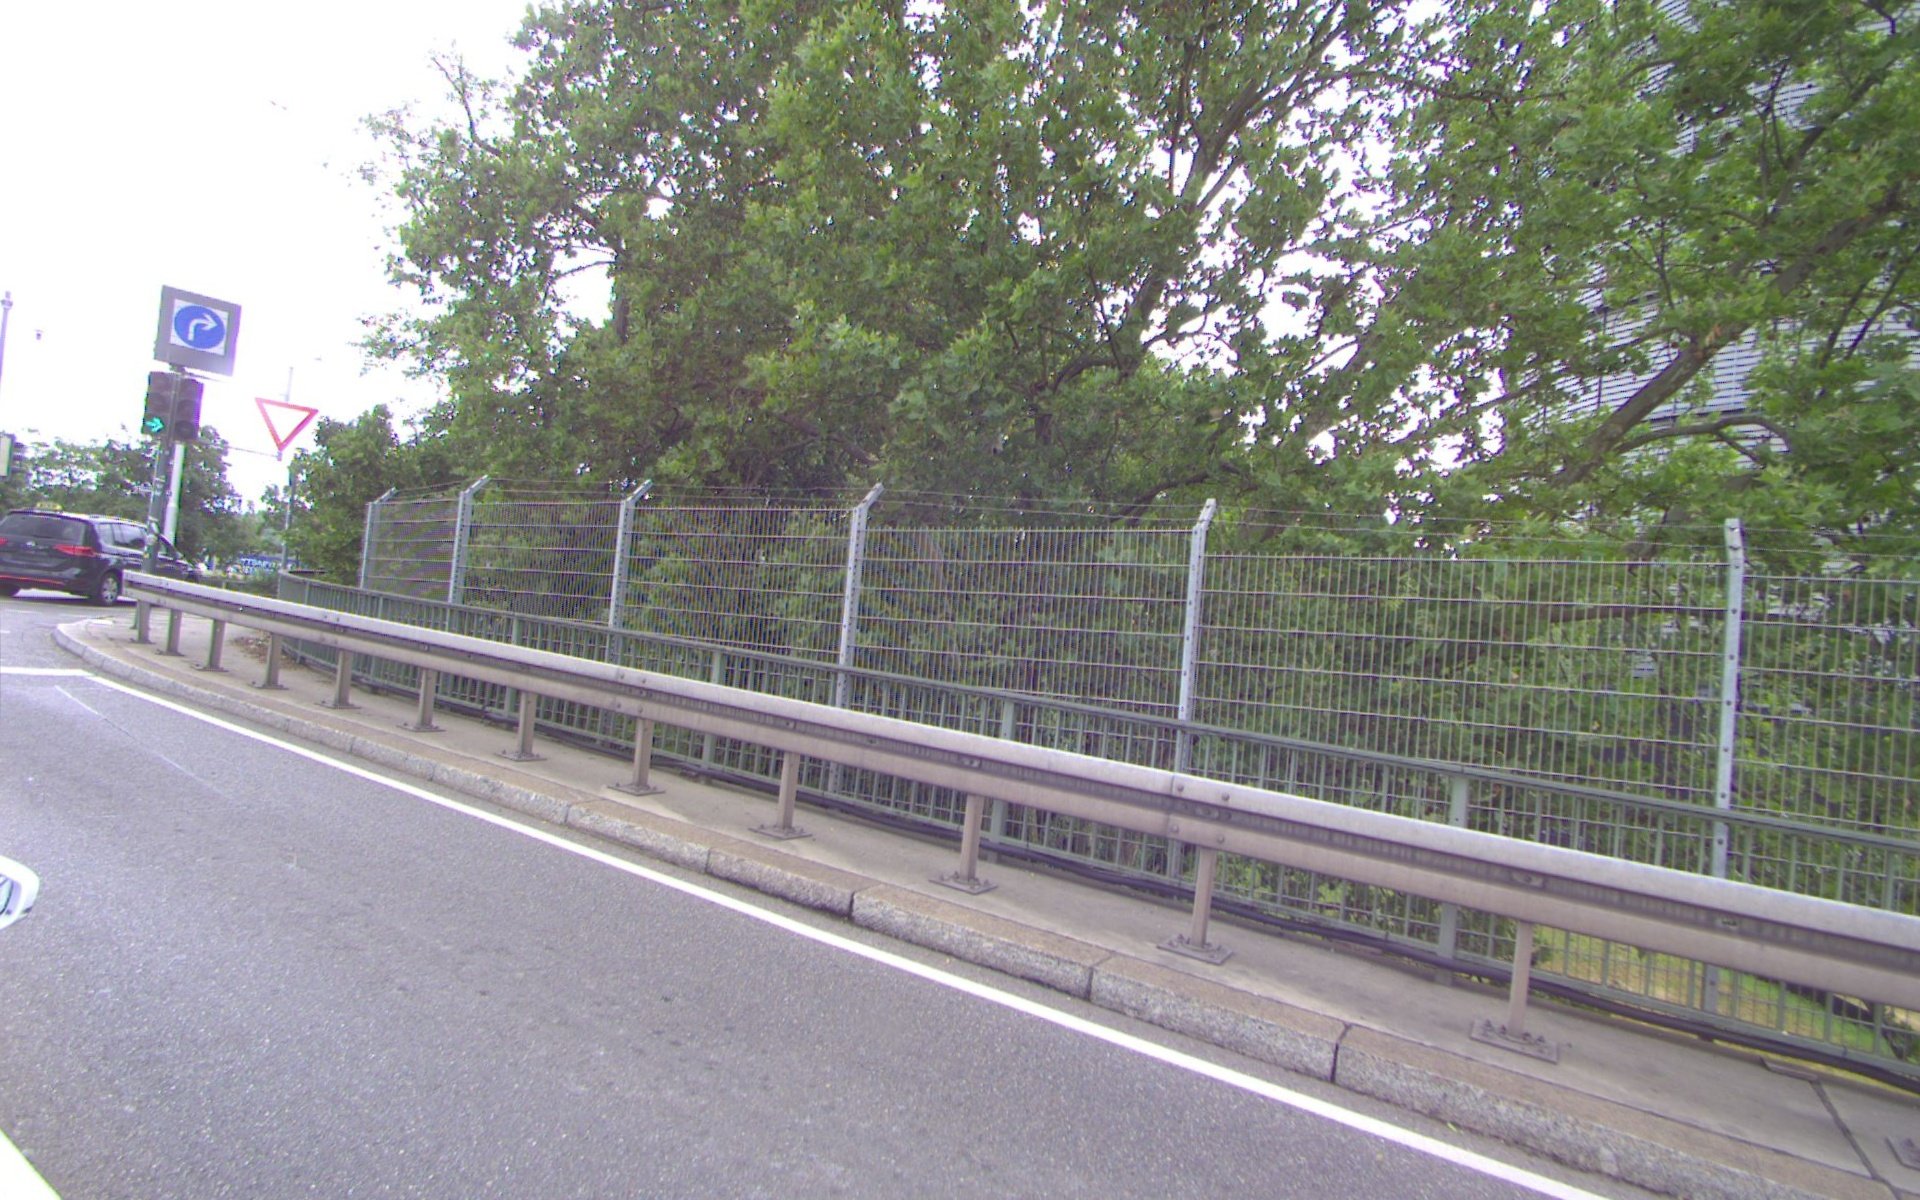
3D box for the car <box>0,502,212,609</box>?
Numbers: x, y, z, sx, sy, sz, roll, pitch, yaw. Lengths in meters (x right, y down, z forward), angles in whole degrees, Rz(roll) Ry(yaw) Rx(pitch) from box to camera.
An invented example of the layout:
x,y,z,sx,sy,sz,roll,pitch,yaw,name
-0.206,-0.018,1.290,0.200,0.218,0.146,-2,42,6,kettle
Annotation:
x,y,z,sx,sy,sz,roll,pitch,yaw,name
-16.668,-0.771,19.518,1.773,1.672,4.142,8,-2,-13,car
